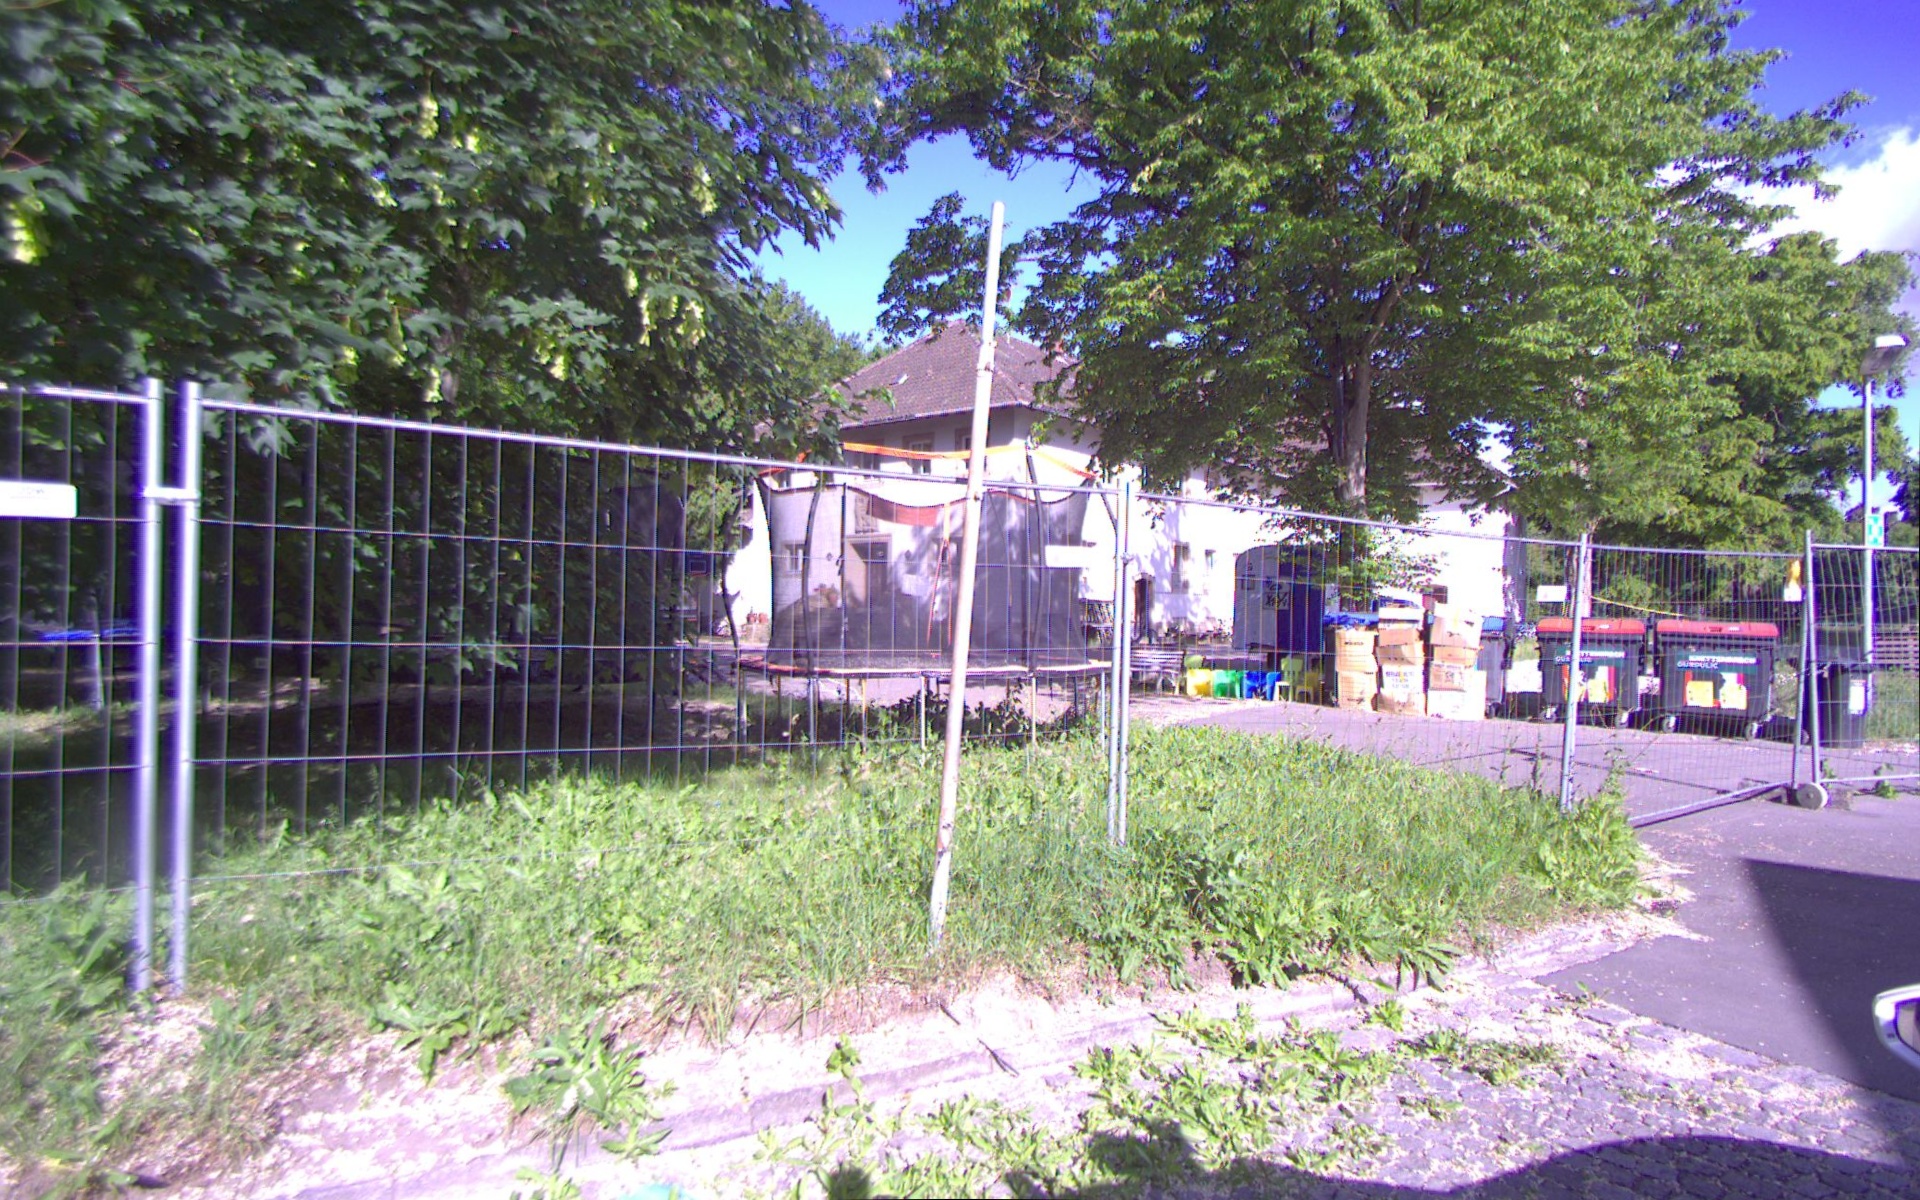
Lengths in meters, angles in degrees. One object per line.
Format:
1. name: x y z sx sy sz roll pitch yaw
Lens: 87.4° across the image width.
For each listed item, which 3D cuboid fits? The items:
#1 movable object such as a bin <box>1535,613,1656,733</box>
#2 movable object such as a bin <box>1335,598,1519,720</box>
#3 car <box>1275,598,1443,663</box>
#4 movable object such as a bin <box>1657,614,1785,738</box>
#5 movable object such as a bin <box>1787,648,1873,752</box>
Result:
1. movable object such as a bin: 8.511 0.934 13.483 1.319 1.504 0.804 1 0 34
2. movable object such as a bin: 6.771 0.798 14.585 2.257 1.612 1.171 1 0 34
3. car: 12.681 0.953 32.030 4.649 1.927 1.993 -1 -2 36
4. movable object such as a bin: 9.540 0.920 12.651 1.228 1.464 0.700 1 0 35
5. movable object such as a bin: 10.265 1.152 11.848 0.728 1.112 0.814 1 0 43
